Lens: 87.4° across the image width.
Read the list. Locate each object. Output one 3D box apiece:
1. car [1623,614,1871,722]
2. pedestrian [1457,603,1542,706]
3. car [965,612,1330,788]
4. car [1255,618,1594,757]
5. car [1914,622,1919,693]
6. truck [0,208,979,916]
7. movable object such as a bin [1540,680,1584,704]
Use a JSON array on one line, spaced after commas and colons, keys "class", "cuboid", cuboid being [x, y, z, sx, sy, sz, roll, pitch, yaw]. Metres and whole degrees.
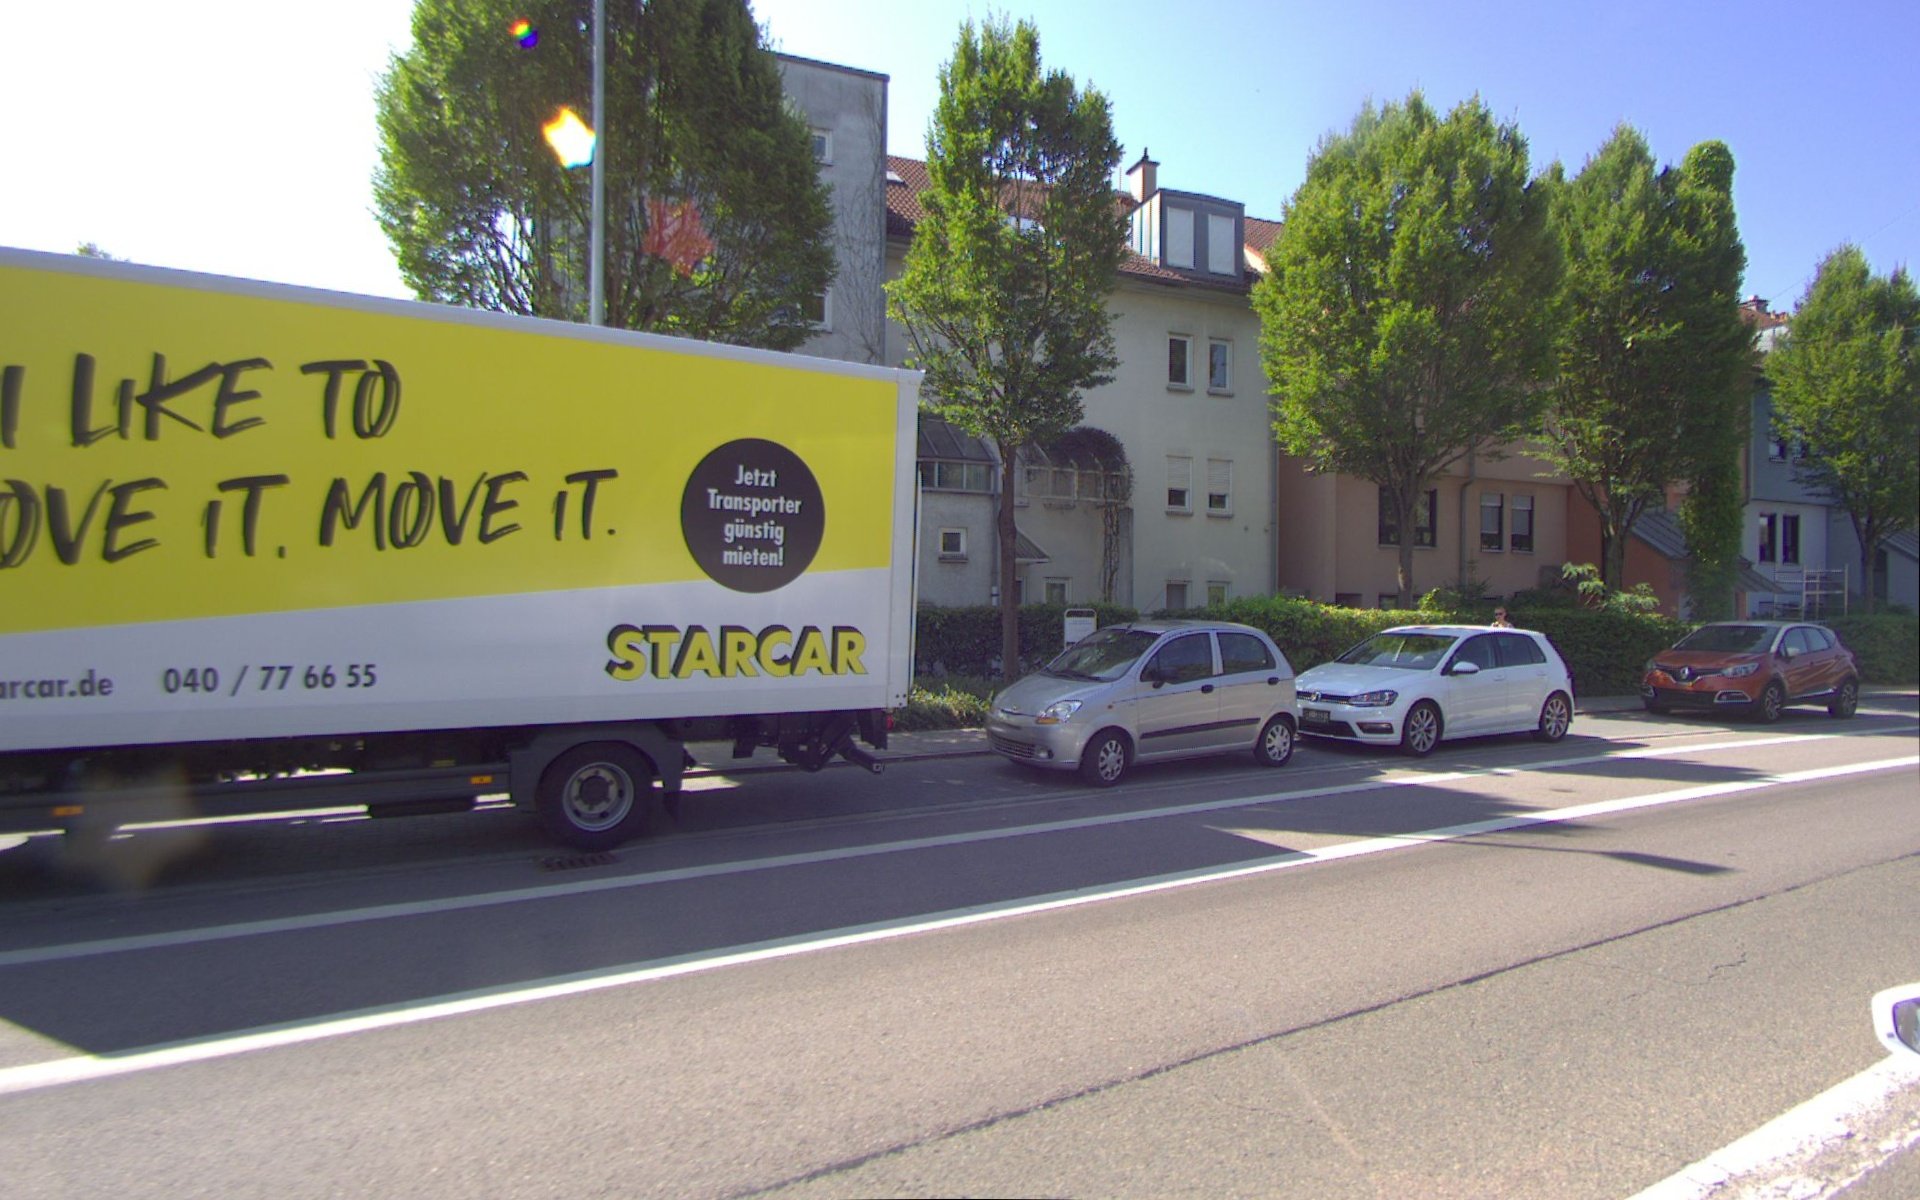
[{"class": "car", "cuboid": [13.191, 1.045, 16.794, 4.265, 1.572, 1.723, 1, 0, -29]}, {"class": "pedestrian", "cuboid": [9.297, 0.910, 17.324, 1.042, 1.713, 0.871, 1, -1, -29]}, {"class": "car", "cuboid": [2.006, 0.920, 10.520, 3.594, 1.504, 1.601, 1, 1, -31]}, {"class": "car", "cuboid": [5.924, 0.988, 12.719, 4.230, 1.448, 1.749, 1, 1, -30]}, {"class": "car", "cuboid": [22.829, 1.284, 21.741, 4.797, 1.503, 1.773, 1, 0, -29]}, {"class": "truck", "cuboid": [-4.205, -0.190, 6.972, 8.487, 3.577, 2.654, 1, 1, -30]}, {"class": "movable object such as a bin", "cuboid": [10.279, 1.572, 17.147, 0.747, 0.359, 0.325, 1, -1, -30]}]
